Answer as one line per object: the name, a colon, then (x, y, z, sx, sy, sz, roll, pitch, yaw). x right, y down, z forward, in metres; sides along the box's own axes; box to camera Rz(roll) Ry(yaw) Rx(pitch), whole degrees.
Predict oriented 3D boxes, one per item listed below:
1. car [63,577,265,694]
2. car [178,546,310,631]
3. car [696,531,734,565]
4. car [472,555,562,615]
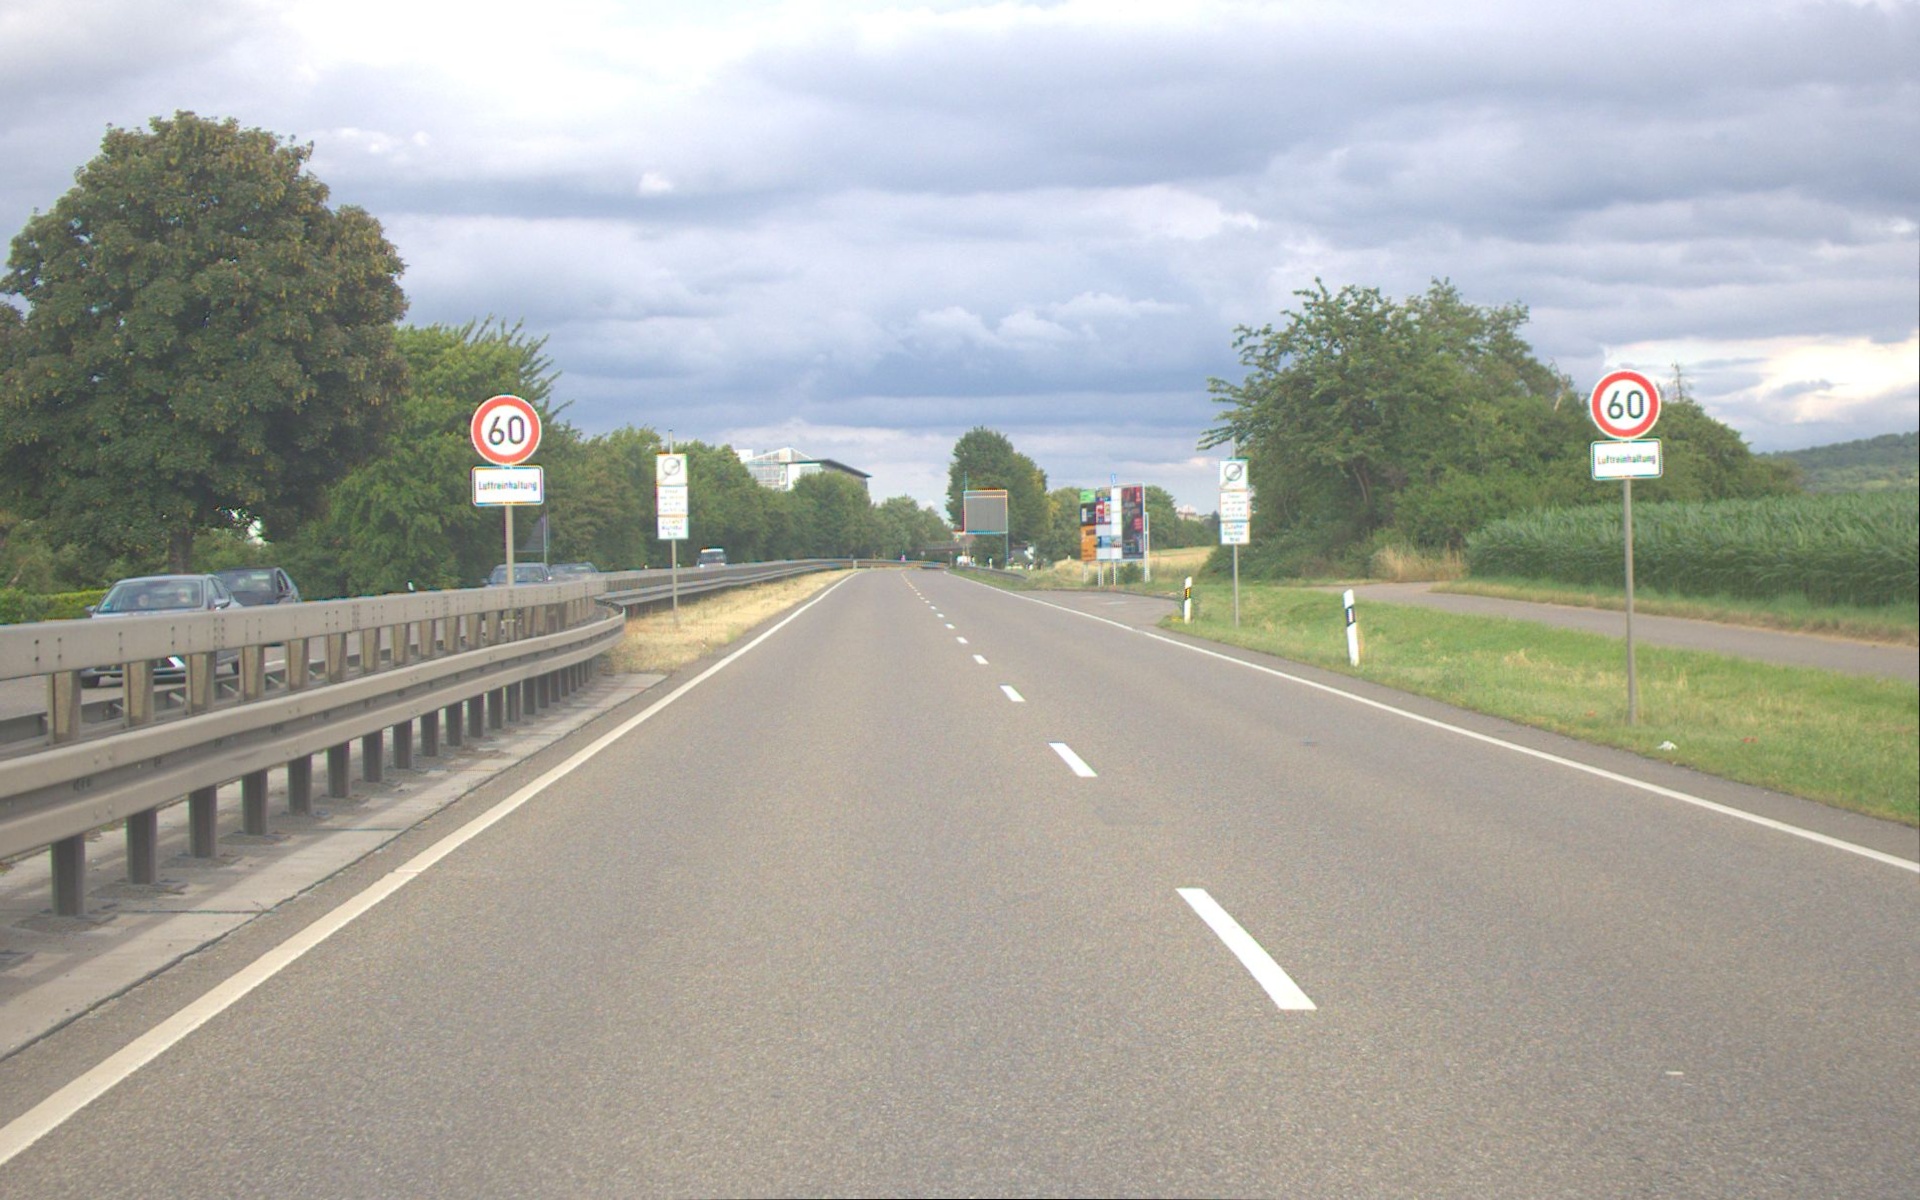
car: (-10.581, 0.439, 45.986, 1.789, 1.381, 4.161, -2, 1, -1)
car: (-14.214, -0.255, 68.435, 1.789, 1.568, 4.161, -2, 1, -1)
car: (-15.936, -3.384, 224.061, 1.993, 2.133, 5.319, -2, 1, 0)
car: (-11.891, -0.430, 92.524, 1.866, 1.472, 4.826, -2, 1, -1)
